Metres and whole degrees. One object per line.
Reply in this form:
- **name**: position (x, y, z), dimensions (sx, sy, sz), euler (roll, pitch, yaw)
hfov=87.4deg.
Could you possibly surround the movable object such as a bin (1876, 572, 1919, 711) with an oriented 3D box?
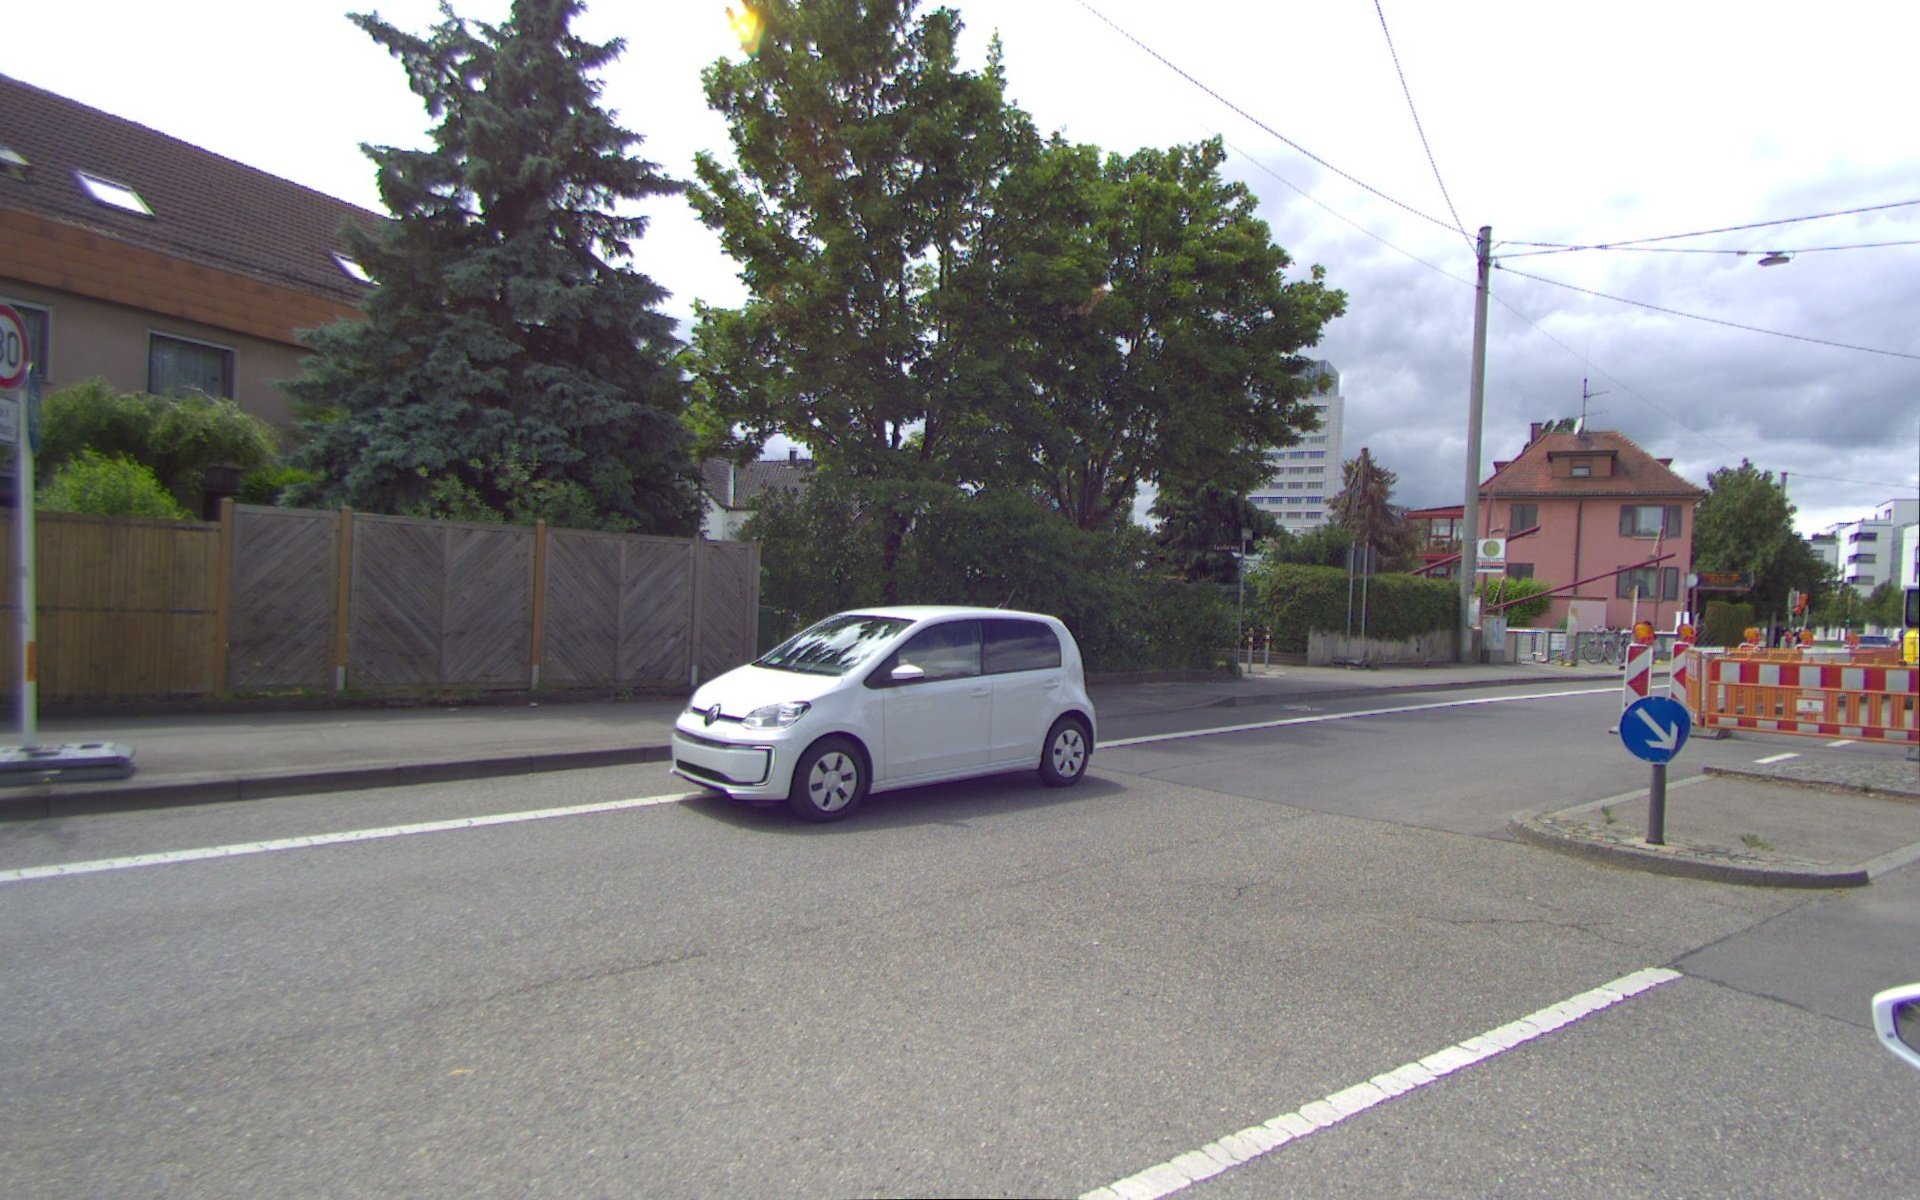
- **movable object such as a bin**: position (21.367, 0.901, 20.574), dimensions (6.446, 2.660, 1.984), euler (2, 0, -30)

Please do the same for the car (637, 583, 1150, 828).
- **car**: position (-0.376, 0.703, 8.232), dimensions (3.969, 1.533, 1.679), euler (2, 0, -41)

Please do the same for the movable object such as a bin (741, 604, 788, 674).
- **movable object such as a bin**: position (-2.829, 0.561, 14.554), dimensions (0.366, 0.991, 0.545), euler (2, 0, 40)

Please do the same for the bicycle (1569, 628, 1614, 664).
- **bicycle**: position (20.445, 1.486, 32.495), dimensions (2.112, 1.097, 0.534), euler (2, 0, -38)

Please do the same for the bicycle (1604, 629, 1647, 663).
- **bicycle**: position (22.644, 1.567, 34.170), dimensions (2.112, 1.097, 0.534), euler (2, 0, -38)

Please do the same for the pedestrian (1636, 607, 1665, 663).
- **pedestrian**: position (24.128, 1.226, 35.111), dimensions (0.580, 1.911, 0.673), euler (2, 0, -40)
